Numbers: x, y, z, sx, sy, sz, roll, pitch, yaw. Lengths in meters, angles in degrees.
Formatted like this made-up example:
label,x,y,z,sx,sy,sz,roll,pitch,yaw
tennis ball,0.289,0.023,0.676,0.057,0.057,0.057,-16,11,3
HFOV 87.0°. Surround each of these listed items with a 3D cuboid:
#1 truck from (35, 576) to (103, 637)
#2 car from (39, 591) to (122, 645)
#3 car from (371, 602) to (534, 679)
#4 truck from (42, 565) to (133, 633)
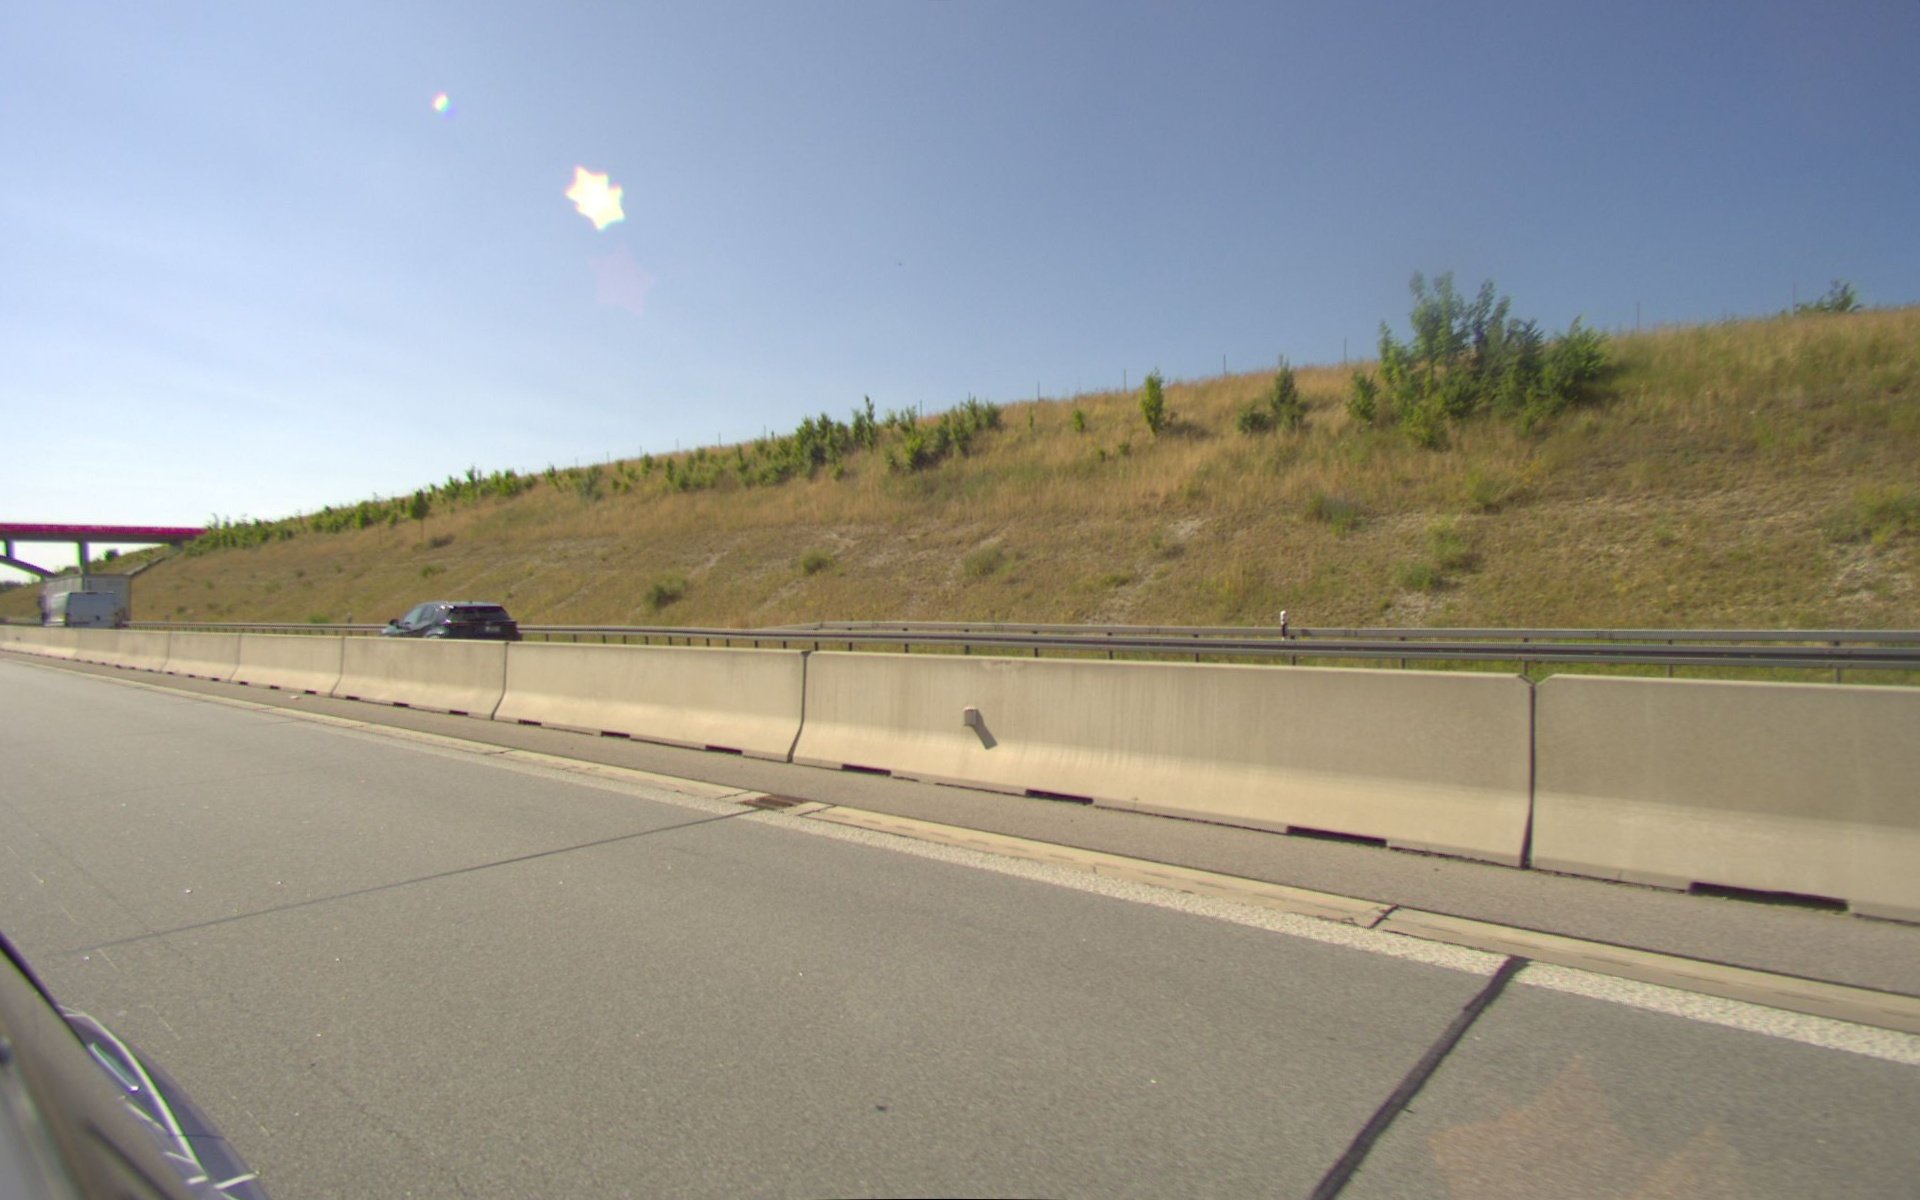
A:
label,x,y,z,sx,sy,sz,roll,pitch,yaw
truck,-65.665,0.491,74.557,5.966,4.341,2.984,-1,0,41
car,-43.132,0.849,49.578,5.828,2.474,2.184,-1,0,40
car,-11.153,0.834,22.138,4.159,1.516,1.669,-1,0,40
truck,-60.371,-0.011,69.897,12.728,4.341,2.984,-1,0,41
